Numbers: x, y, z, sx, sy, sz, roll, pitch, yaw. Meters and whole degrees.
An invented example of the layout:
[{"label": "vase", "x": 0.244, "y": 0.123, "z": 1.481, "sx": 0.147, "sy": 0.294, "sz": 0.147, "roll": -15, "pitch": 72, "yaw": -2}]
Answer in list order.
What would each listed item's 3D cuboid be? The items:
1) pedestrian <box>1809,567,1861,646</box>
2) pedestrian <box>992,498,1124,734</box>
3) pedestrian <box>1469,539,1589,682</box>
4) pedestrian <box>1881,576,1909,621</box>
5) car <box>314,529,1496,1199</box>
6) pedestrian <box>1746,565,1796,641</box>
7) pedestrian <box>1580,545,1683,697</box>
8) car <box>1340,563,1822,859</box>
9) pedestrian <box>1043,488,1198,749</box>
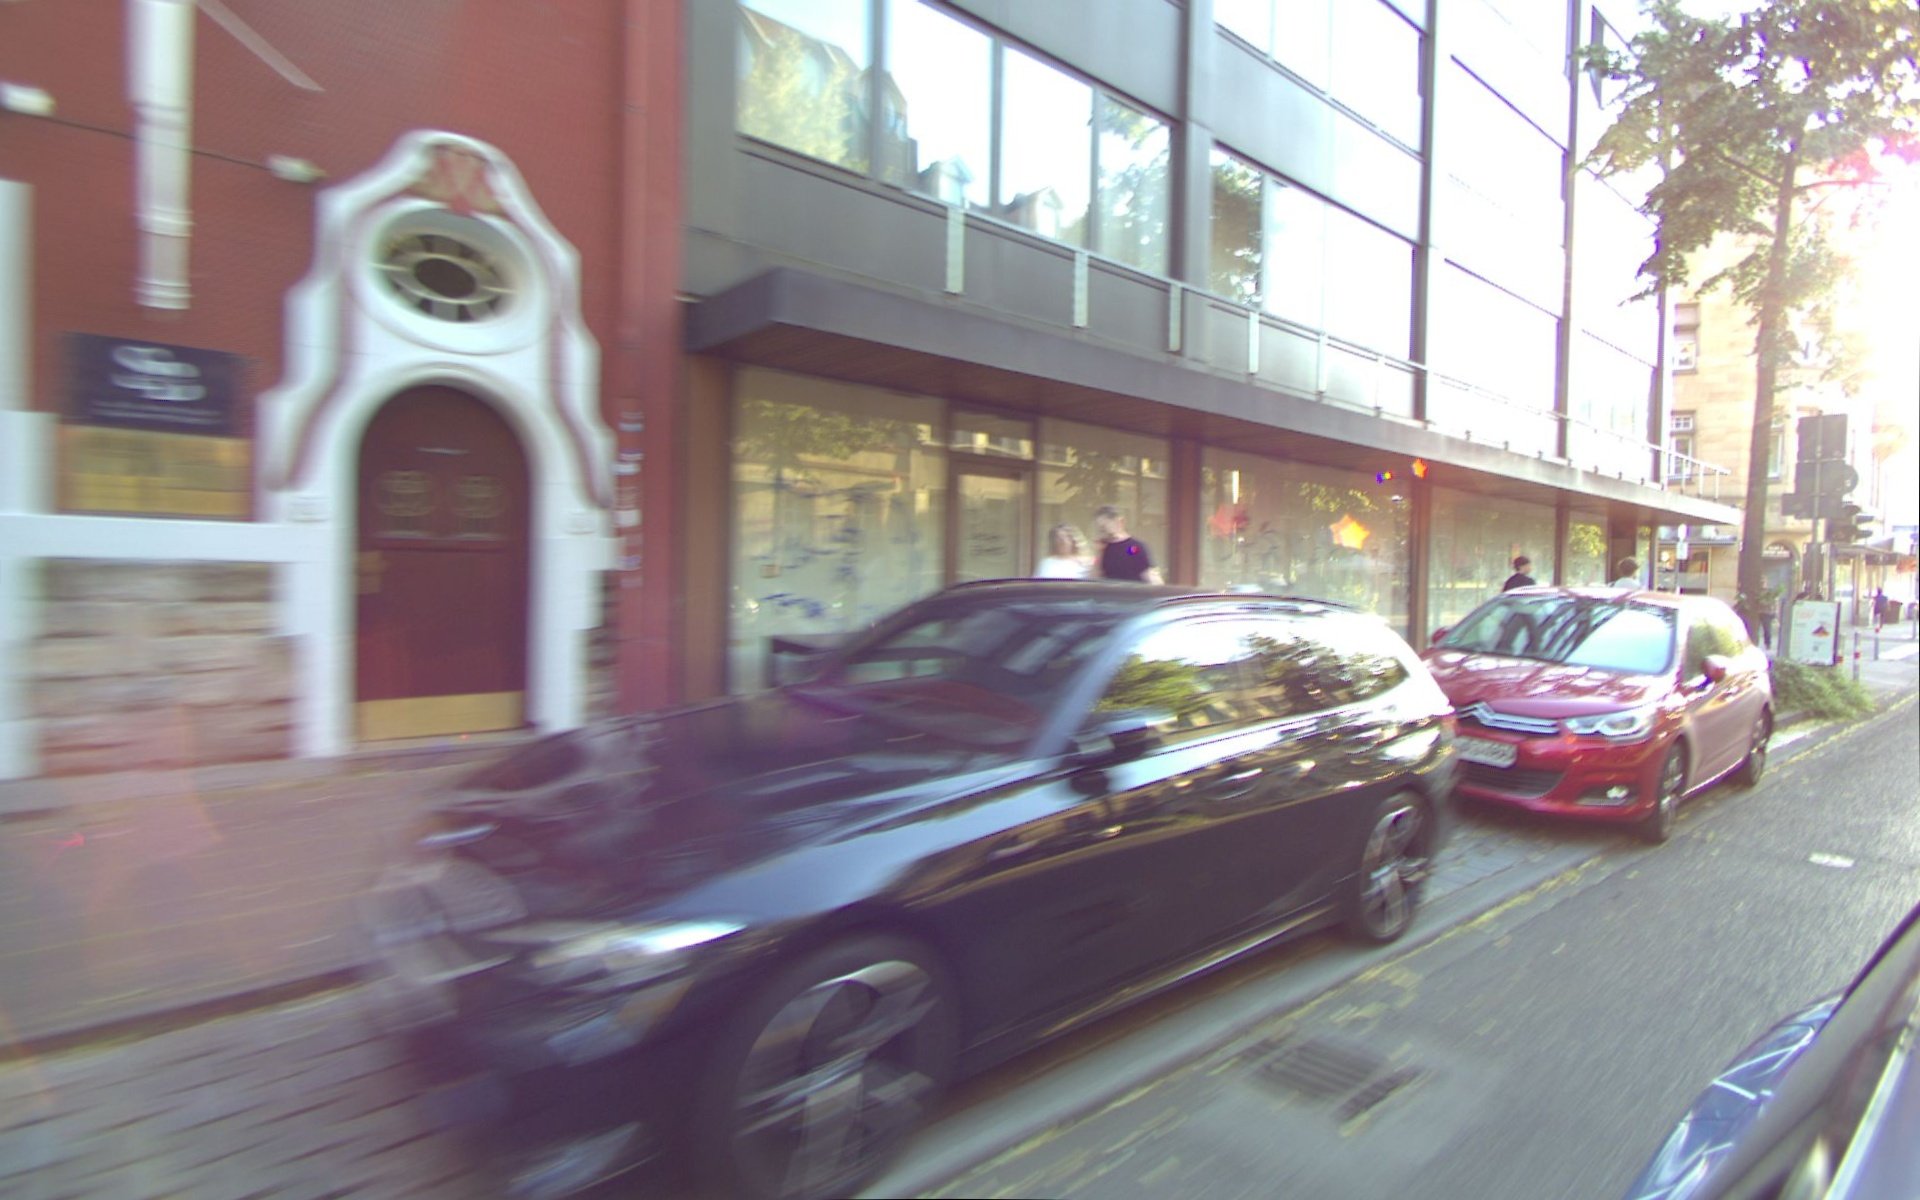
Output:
[{"label": "pedestrian", "x": 20.273, "y": 0.126, "z": 23.457, "sx": 0.798, "sy": 1.780, "sz": 0.756, "roll": 0, "pitch": 2, "yaw": -41}, {"label": "pedestrian", "x": 0.808, "y": 0.102, "z": 8.336, "sx": 0.821, "sy": 1.831, "sz": 0.590, "roll": 0, "pitch": 4, "yaw": -41}, {"label": "pedestrian", "x": 7.739, "y": 0.113, "z": 13.778, "sx": 0.928, "sy": 1.807, "sz": 1.049, "roll": 0, "pitch": 4, "yaw": -40}, {"label": "pedestrian", "x": 35.760, "y": -0.068, "z": 38.702, "sx": 0.591, "sy": 1.682, "sz": 0.600, "roll": 0, "pitch": 3, "yaw": -35}, {"label": "car", "x": 0.216, "y": 0.585, "z": 3.892, "sx": 4.341, "sy": 1.488, "sz": 1.778, "roll": 0, "pitch": 4, "yaw": -41}, {"label": "pedestrian", "x": 19.360, "y": 0.055, "z": 24.157, "sx": 0.798, "sy": 1.780, "sz": 0.756, "roll": 0, "pitch": 2, "yaw": -41}, {"label": "pedestrian", "x": 8.547, "y": 0.245, "z": 12.885, "sx": 0.854, "sy": 1.806, "sz": 0.732, "roll": 0, "pitch": 5, "yaw": -40}, {"label": "car", "x": 4.871, "y": 0.565, "z": 7.602, "sx": 4.670, "sy": 1.510, "sz": 1.726, "roll": 0, "pitch": 4, "yaw": -41}, {"label": "pedestrian", "x": 1.246, "y": 0.111, "z": 7.856, "sx": 0.959, "sy": 1.890, "sz": 0.627, "roll": 0, "pitch": 4, "yaw": -41}]
